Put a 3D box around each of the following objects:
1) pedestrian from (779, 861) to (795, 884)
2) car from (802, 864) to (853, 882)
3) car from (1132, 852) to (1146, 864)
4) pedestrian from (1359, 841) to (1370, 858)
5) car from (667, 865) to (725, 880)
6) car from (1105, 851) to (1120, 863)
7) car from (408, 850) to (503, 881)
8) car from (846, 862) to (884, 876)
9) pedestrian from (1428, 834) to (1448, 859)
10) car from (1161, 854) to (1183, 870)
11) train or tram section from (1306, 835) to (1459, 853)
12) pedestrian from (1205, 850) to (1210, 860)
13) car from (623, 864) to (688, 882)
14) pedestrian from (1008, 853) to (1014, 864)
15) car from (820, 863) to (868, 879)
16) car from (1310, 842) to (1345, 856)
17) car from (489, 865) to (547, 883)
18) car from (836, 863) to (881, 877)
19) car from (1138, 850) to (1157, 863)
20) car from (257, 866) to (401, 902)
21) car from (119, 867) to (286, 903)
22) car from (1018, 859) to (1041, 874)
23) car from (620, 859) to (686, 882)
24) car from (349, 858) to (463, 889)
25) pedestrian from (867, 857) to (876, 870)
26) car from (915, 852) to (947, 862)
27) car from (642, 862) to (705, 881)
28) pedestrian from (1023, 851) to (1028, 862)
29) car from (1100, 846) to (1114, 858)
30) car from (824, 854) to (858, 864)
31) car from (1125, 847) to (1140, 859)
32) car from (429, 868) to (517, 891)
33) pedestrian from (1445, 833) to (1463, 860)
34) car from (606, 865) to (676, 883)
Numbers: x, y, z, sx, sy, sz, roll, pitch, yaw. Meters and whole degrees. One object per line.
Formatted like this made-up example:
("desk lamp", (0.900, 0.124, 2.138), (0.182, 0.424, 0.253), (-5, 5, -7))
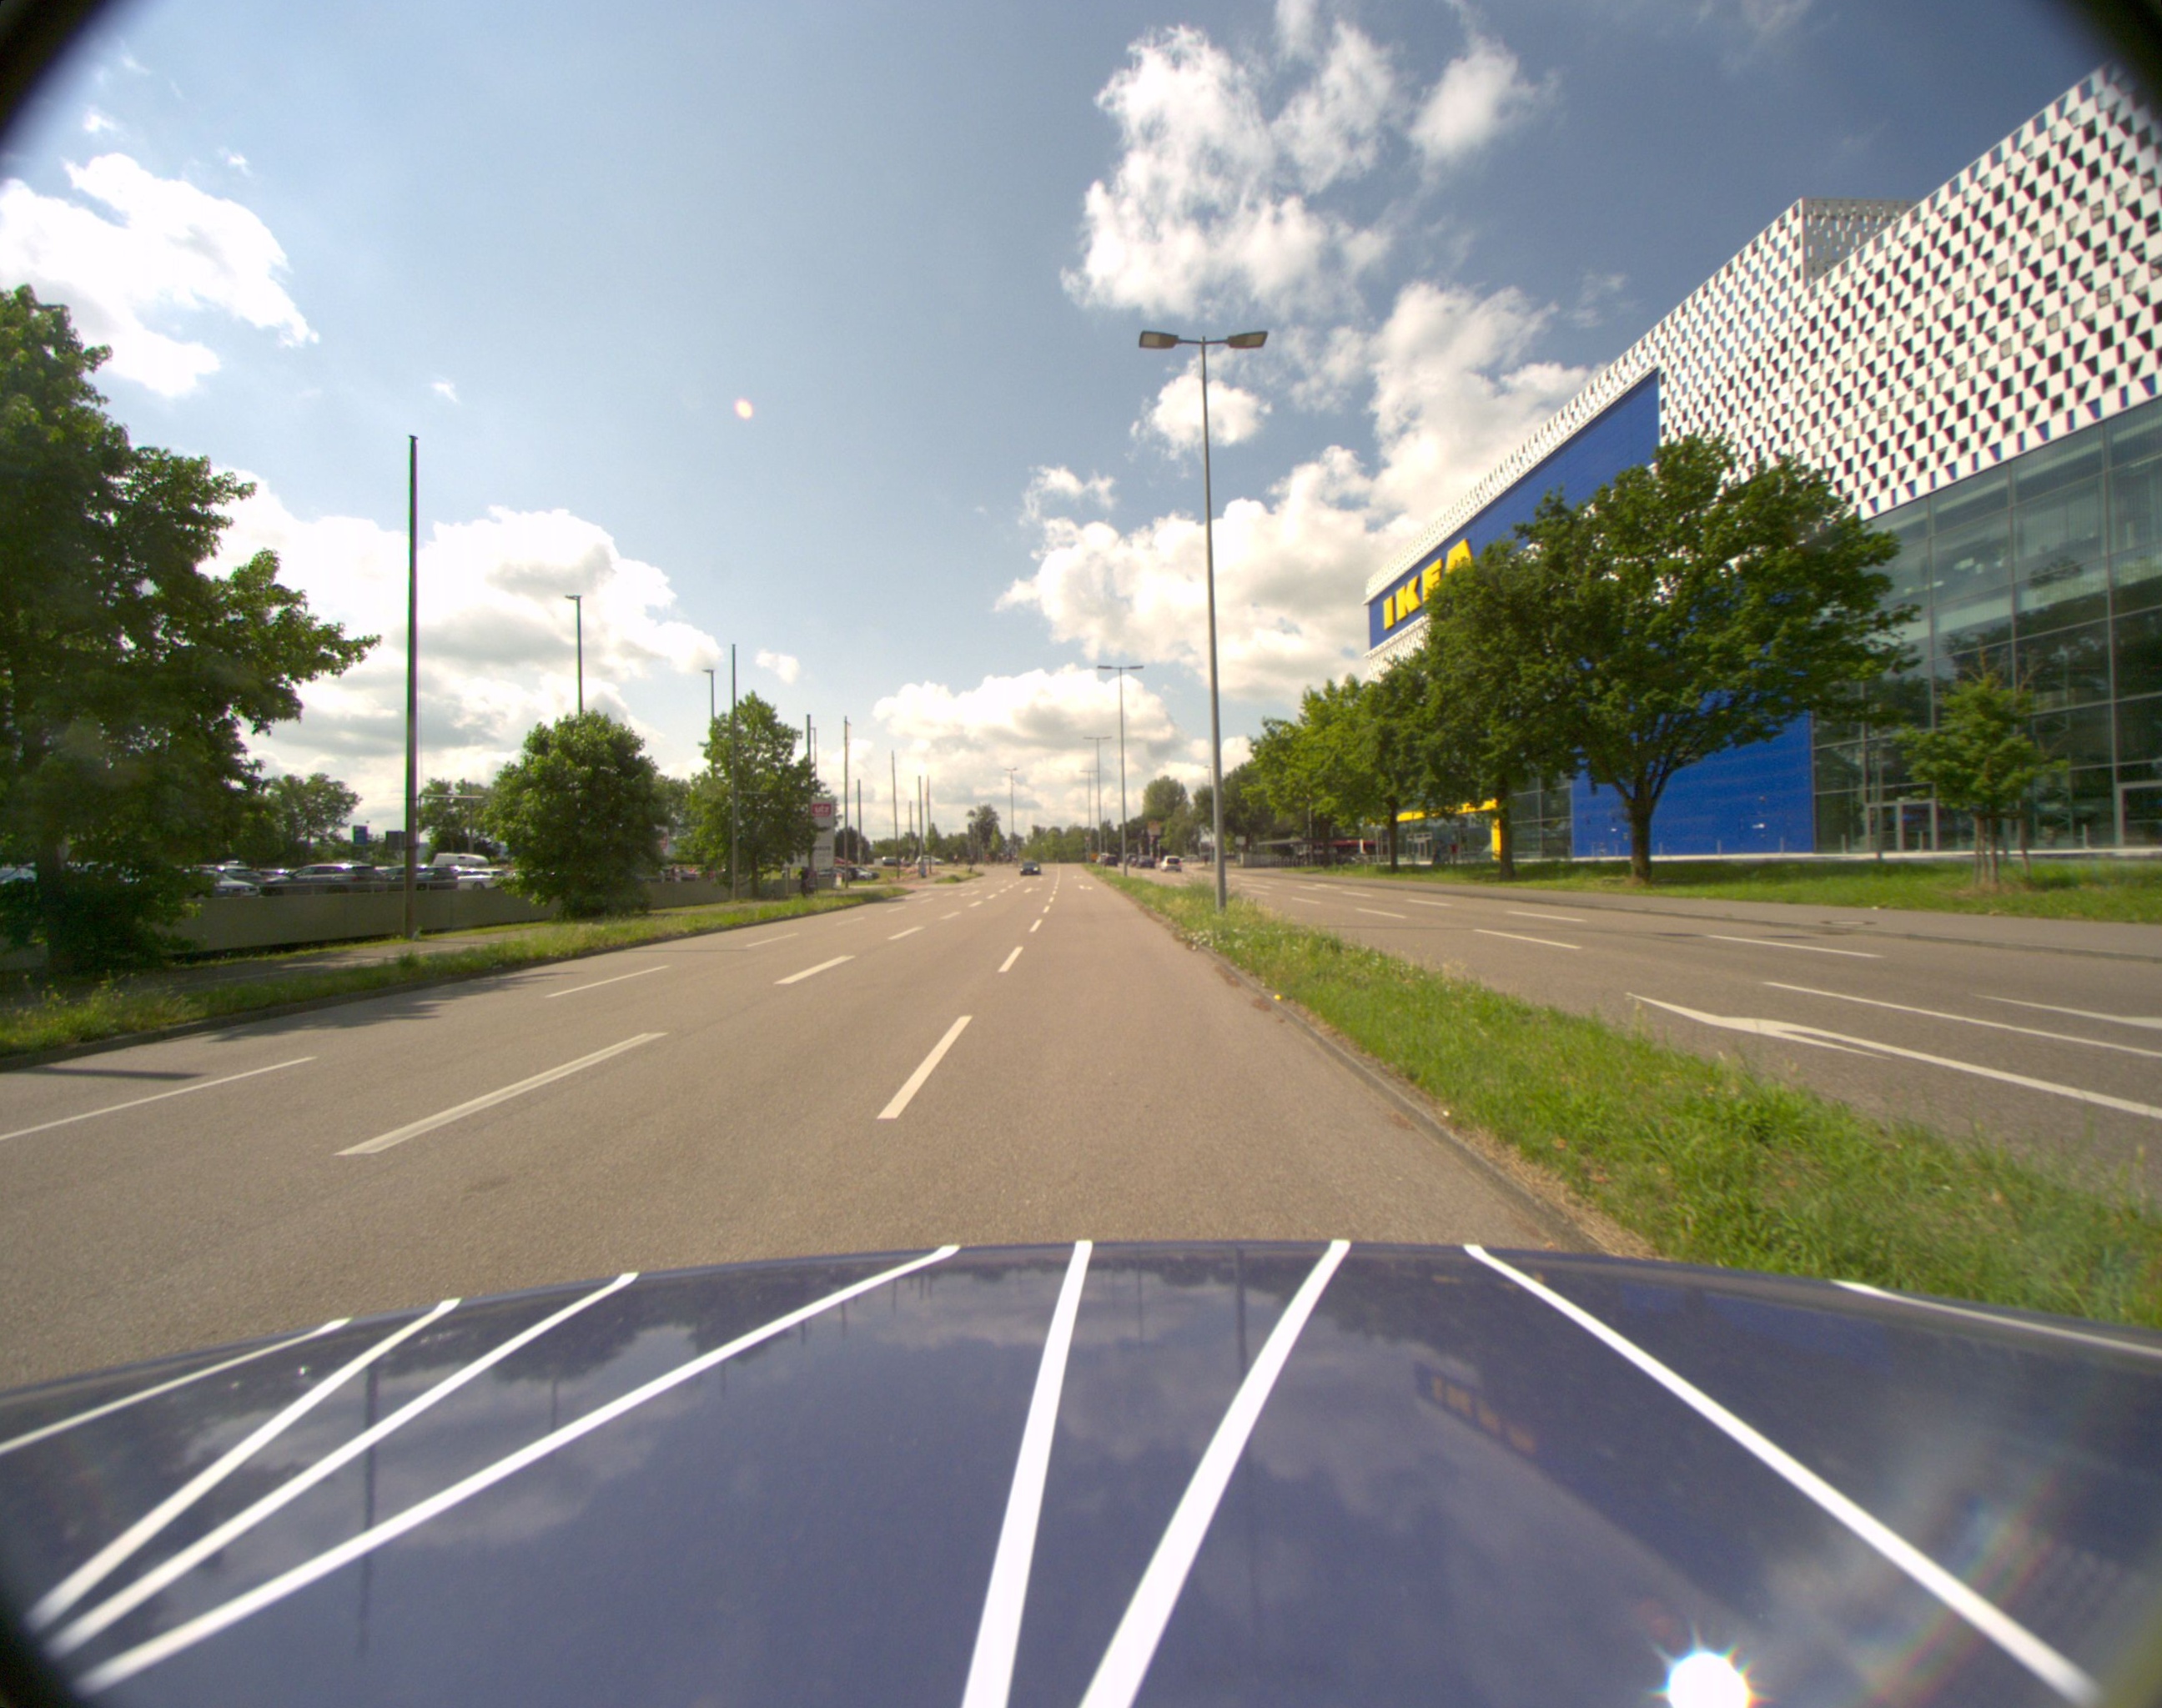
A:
("pedestrian", (-23.043, 1.436, 59.595), (0.874, 1.772, 0.782), (-2, 0, -45))
("car", (-24.754, 1.831, 74.295), (4.369, 1.468, 1.857), (-3, 0, 1))
("car", (7.217, 0.500, 95.245), (1.415, 1.383, 4.095), (1, 1, -1))
("pedestrian", (29.678, -0.477, 79.495), (0.898, 1.697, 0.710), (-2, 1, -2))
("car", (-34.899, 1.689, 68.949), (4.369, 1.354, 1.847), (0, -1, 1))
("car", (4.032, 0.393, 97.288), (1.608, 1.485, 4.131), (0, 1, -2))
("car", (-69.084, 1.235, 83.985), (7.898, 3.136, 3.122), (-1, 1, 2))
("car", (-25.272, 1.753, 89.024), (3.998, 1.410, 1.715), (-1, 1, -3))
("pedestrian", (24.992, -0.527, 53.179), (0.952, 1.692, 0.887), (-2, 1, -1))
("car", (8.584, 0.727, 71.815), (1.647, 1.420, 3.670), (0, 0, 0))
("train or tram section", (52.261, -1.767, 132.238), (25.116, 3.014, 4.529), (0, 0, -3))
("pedestrian", (17.976, 0.136, 108.100), (0.439, 1.482, 0.619), (-2, 1, -18))
("car", (-34.374, 1.522, 61.467), (4.369, 1.433, 1.627), (0, -1, 1))
("pedestrian", (-10.030, 0.653, 108.935), (0.585, 1.515, 0.469), (-2, 1, 8))
("car", (-24.642, 1.795, 79.119), (4.370, 1.408, 1.856), (-3, 0, -1))
("car", (39.623, -0.783, 122.211), (4.821, 2.001, 1.999), (-2, 0, -4))
("car", (-50.993, 1.827, 68.874), (3.997, 1.443, 1.669), (-2, 0, 0))
("car", (-24.706, 1.772, 84.358), (4.370, 1.431, 1.796), (-2, 0, -1))
("car", (7.603, 0.226, 87.174), (1.668, 1.413, 4.517), (0, 1, -2))
("car", (-33.934, 1.332, 34.385), (4.370, 1.565, 2.030), (0, -1, -2))
("car", (-34.541, 1.191, 29.962), (4.370, 1.317, 1.764), (0, -1, -2))
("car", (-5.076, 1.213, 75.844), (1.797, 1.311, 4.163), (-3, 0, 2))
("car", (-32.281, 1.223, 57.395), (4.026, 1.578, 1.695), (-2, -1, -2))
("car", (-34.594, 0.993, 39.000), (4.193, 1.543, 1.764), (0, -1, -2))
("pedestrian", (-27.953, 1.280, 101.288), (0.820, 1.792, 0.761), (-2, 1, 26))
("car", (-23.009, 0.493, 116.552), (4.495, 1.405, 2.013), (-1, 0, -4))
("car", (-34.198, 1.458, 63.869), (4.369, 1.499, 1.682), (0, 0, 1))
("pedestrian", (-8.072, 0.368, 110.251), (0.556, 1.515, 0.470), (-2, 0, 8))
("car", (3.756, -0.302, 110.233), (1.712, 1.610, 4.376), (0, 1, -2))
("car", (-34.395, 0.683, 108.924), (4.248, 1.352, 1.748), (-1, 1, -5))
("car", (7.352, -0.219, 109.248), (1.775, 1.606, 3.998), (1, 1, -2))
("car", (-39.466, 1.658, 49.362), (4.300, 1.419, 1.760), (-1, -2, -1))
("pedestrian", (26.293, -0.516, 53.609), (0.755, 1.812, 0.887), (-2, 1, -1))
("car", (-34.383, 1.562, 59.446), (4.369, 1.354, 1.847), (-1, 0, 1))
